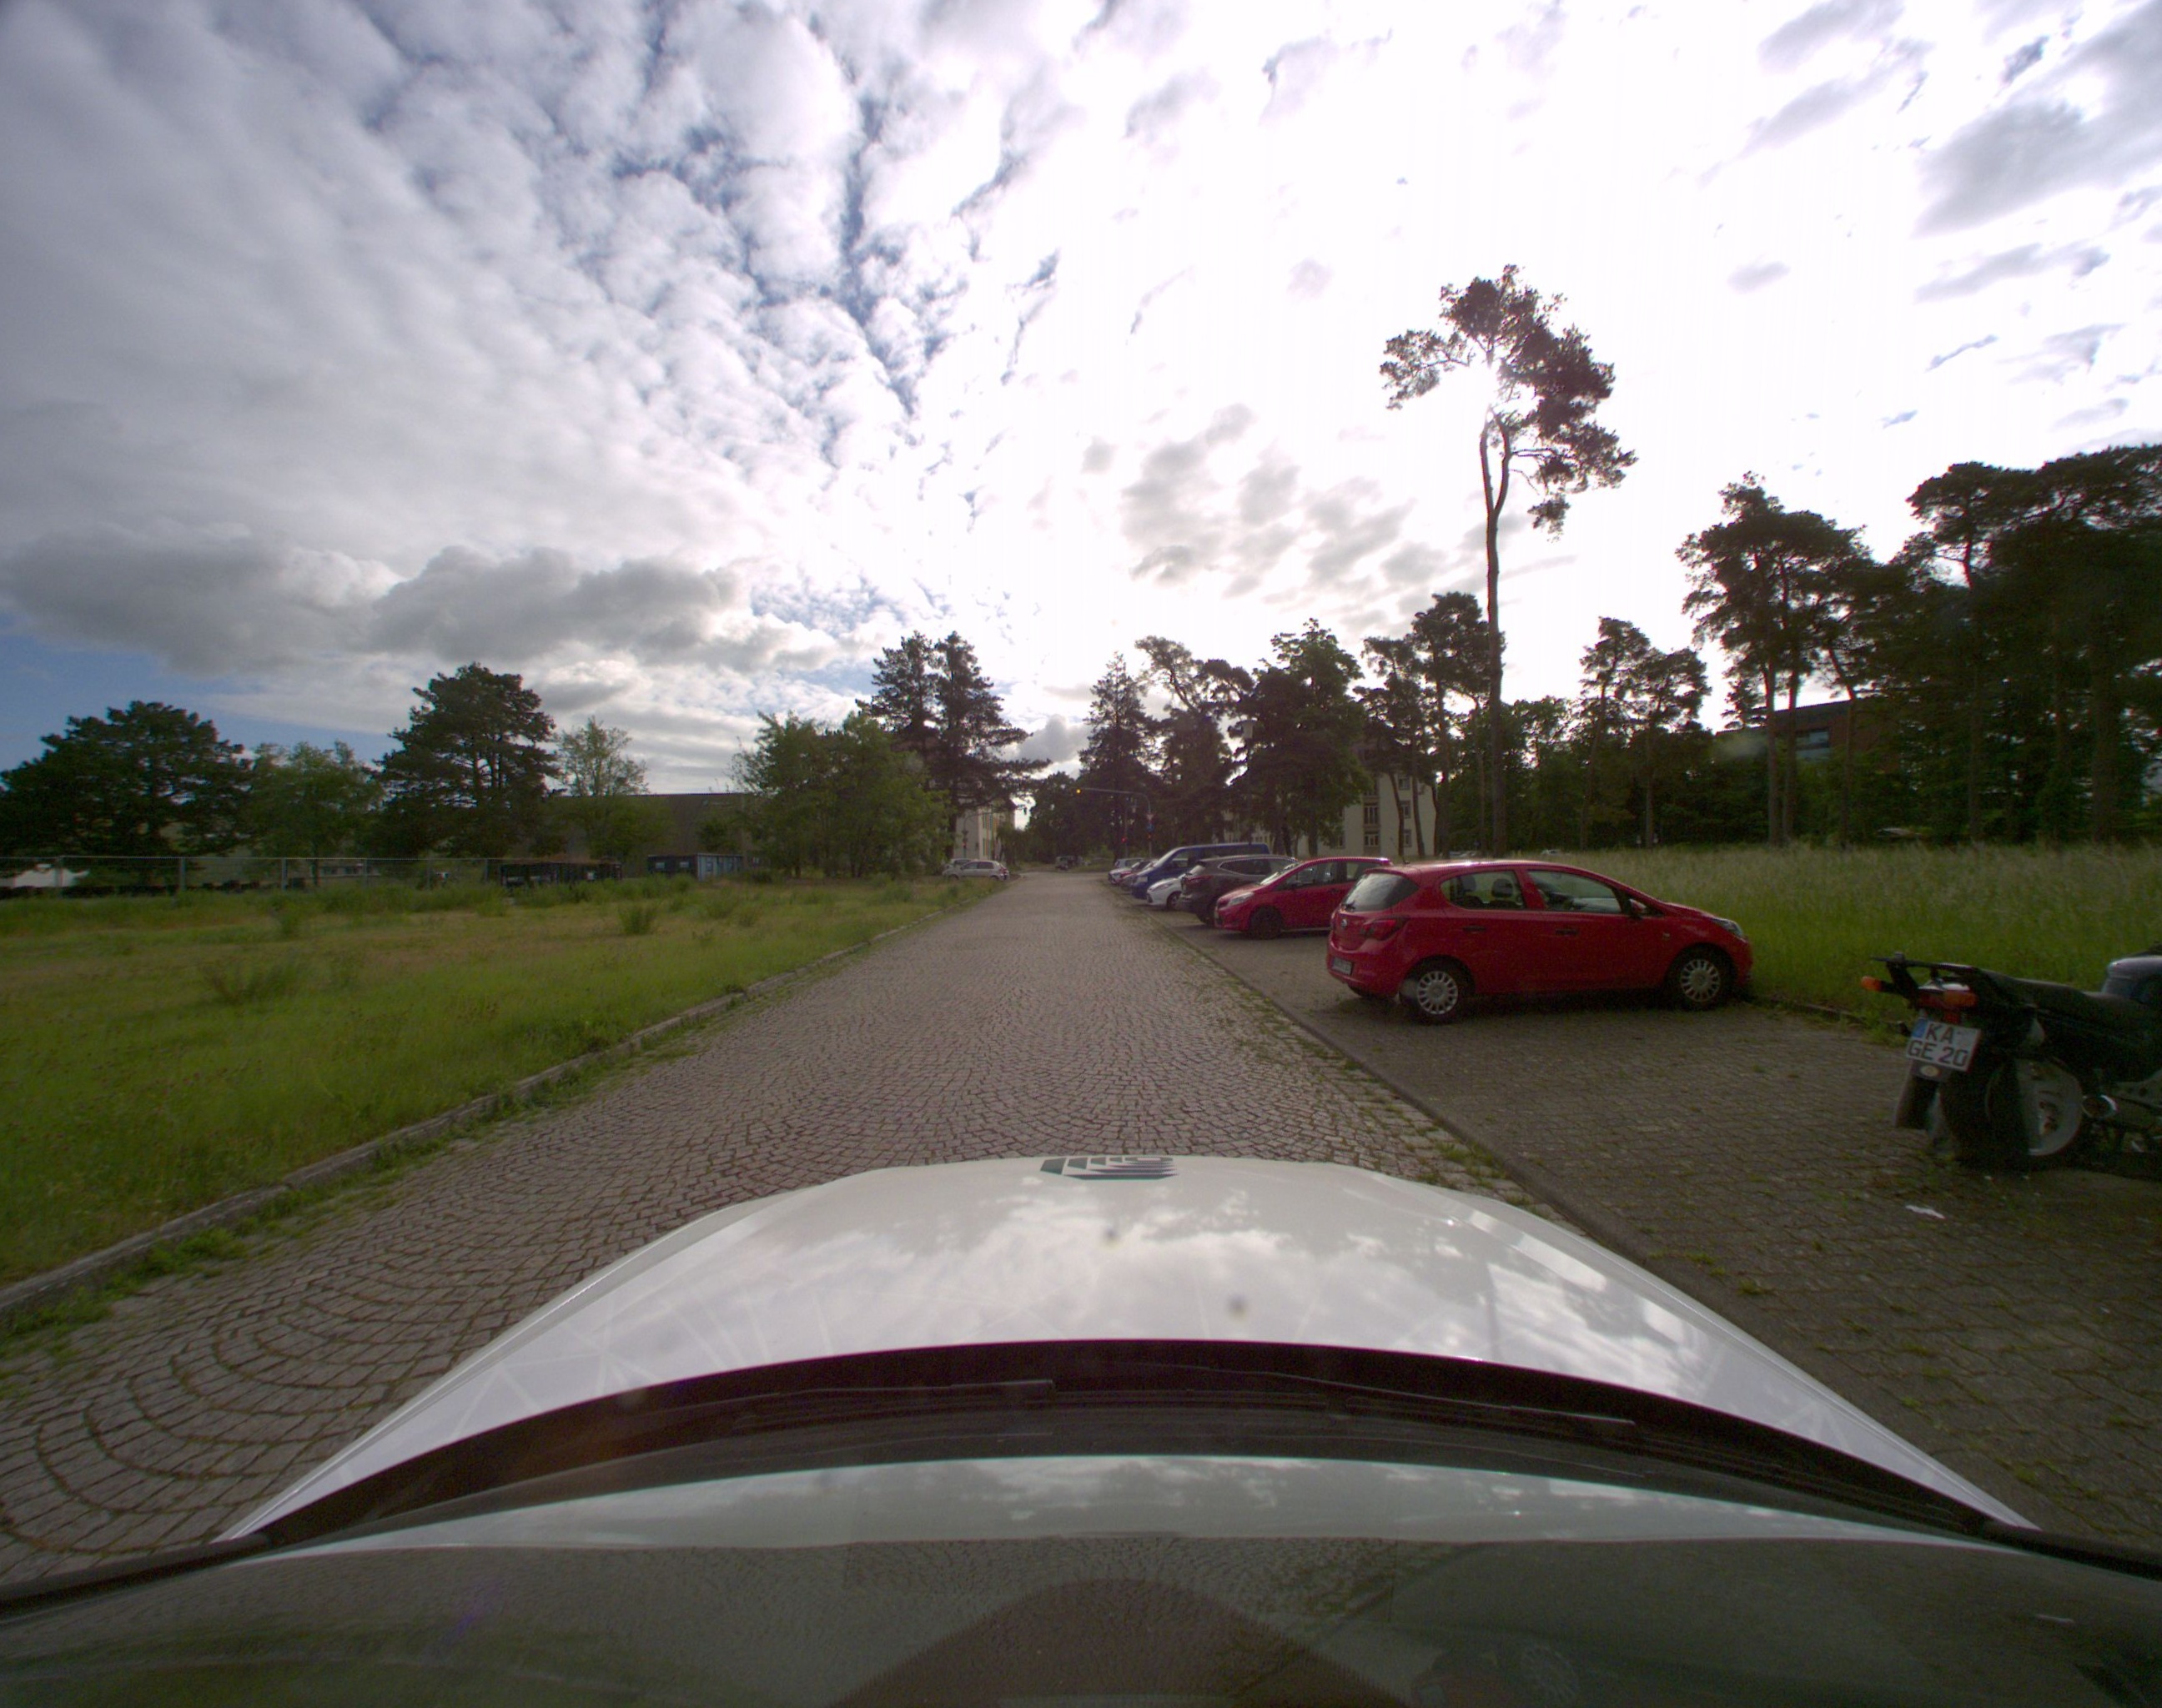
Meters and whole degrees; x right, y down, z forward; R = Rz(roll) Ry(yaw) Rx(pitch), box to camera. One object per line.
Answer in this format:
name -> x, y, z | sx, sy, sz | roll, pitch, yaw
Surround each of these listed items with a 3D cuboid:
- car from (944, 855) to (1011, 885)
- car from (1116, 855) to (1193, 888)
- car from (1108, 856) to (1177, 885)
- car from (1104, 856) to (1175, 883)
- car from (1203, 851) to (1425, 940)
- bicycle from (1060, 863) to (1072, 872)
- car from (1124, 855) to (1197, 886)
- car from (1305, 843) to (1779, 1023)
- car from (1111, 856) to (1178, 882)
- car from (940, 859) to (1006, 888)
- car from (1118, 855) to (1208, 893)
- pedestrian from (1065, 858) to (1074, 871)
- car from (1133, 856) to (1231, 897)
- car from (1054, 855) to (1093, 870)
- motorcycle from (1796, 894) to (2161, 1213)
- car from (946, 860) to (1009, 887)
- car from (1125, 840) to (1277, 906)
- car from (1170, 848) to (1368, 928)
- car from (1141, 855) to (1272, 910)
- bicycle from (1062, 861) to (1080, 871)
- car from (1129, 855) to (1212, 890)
car -> -6.992, 1.095, 55.304 | 4.251, 1.840, 1.742 | -2, -1, -2
car -> 3.669, 0.870, 41.242 | 3.664, 1.449, 1.522 | -2, -1, -3
car -> 3.436, 0.909, 45.772 | 3.667, 1.421, 1.521 | -2, -1, -6
car -> 3.472, 0.933, 48.628 | 3.962, 1.421, 1.616 | -2, -1, -6
car -> 4.442, 0.772, 15.896 | 3.781, 1.460, 1.750 | -2, -1, -2
bicycle -> -1.777, 1.585, 95.972 | 0.623, 0.945, 1.647 | 0, -1, -29
car -> 4.216, 0.880, 43.543 | 3.664, 1.449, 1.522 | -2, -1, -3
car -> 4.469, 0.719, 8.309 | 3.816, 1.460, 1.778 | -2, -1, -2
car -> 3.994, 0.922, 51.294 | 3.962, 1.421, 1.616 | -2, -1, -6
car -> -6.587, 1.173, 49.911 | 3.815, 1.572, 1.562 | -2, -1, -5
car -> 3.550, 0.871, 35.545 | 3.664, 1.449, 1.522 | -2, -1, -3
pedestrian -> -1.453, 1.296, 100.036 | 1.033, 1.614, 0.755 | 0, -1, -8
car -> 4.022, 0.876, 32.780 | 3.664, 1.449, 1.522 | -2, -1, -3
car -> -1.099, 1.227, 117.973 | 5.447, 2.014, 2.260 | 0, -1, -11
motorcycle -> 4.815, 0.830, 3.808 | 2.322, 1.186, 0.794 | -2, -1, -4
car -> -6.587, 1.228, 52.327 | 3.812, 1.572, 1.563 | -2, -1, -2
car -> 3.973, 0.615, 27.504 | 4.744, 1.954, 1.929 | -2, -1, -4
car -> 4.193, 0.736, 18.540 | 4.020, 1.552, 1.748 | -2, -1, -4
car -> 3.780, 0.854, 24.903 | 3.665, 1.449, 1.612 | -2, -1, -4
bicycle -> -1.233, 1.510, 99.700 | 2.135, 1.215, 0.620 | 0, -1, -8
car -> 4.195, 0.863, 38.552 | 3.664, 1.449, 1.522 | -2, -1, -3
